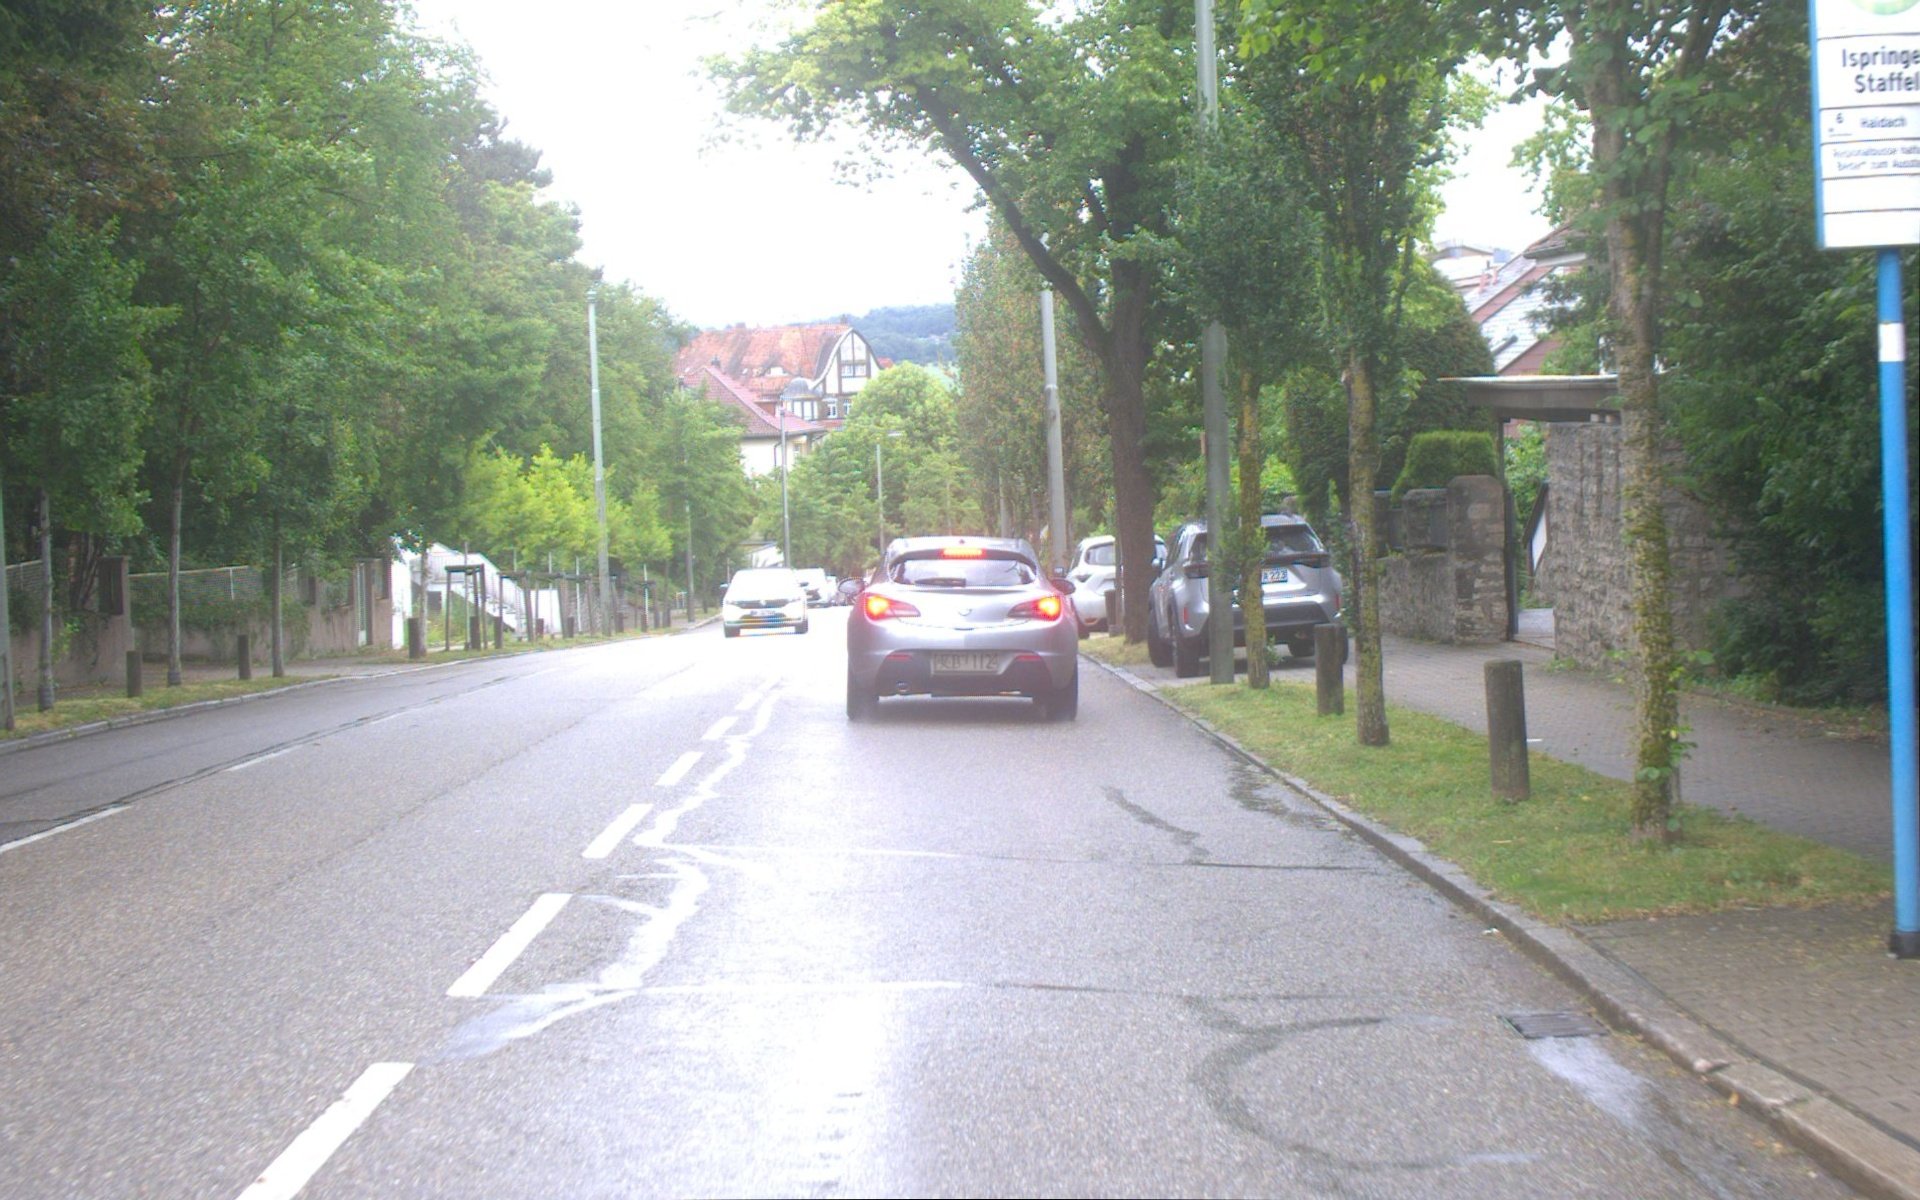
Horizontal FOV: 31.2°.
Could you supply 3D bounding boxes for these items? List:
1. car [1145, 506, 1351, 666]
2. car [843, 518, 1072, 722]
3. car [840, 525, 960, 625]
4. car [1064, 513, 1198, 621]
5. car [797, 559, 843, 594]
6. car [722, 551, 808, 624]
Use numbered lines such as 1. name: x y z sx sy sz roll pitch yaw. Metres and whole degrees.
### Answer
1. car: 2.951 -0.193 35.931 1.721 1.459 4.001 -3 2 0
2. car: -0.017 0.107 28.401 1.754 1.459 4.001 0 3 0
3. car: -0.901 -0.368 52.684 1.754 1.459 4.000 0 0 -1
4. car: 2.508 -0.516 51.173 1.721 1.459 4.001 1 2 0
5. car: -6.010 -1.008 147.799 1.721 1.459 4.000 1 0 1
6. car: -4.318 -0.293 76.569 1.721 1.459 4.001 1 2 -1
